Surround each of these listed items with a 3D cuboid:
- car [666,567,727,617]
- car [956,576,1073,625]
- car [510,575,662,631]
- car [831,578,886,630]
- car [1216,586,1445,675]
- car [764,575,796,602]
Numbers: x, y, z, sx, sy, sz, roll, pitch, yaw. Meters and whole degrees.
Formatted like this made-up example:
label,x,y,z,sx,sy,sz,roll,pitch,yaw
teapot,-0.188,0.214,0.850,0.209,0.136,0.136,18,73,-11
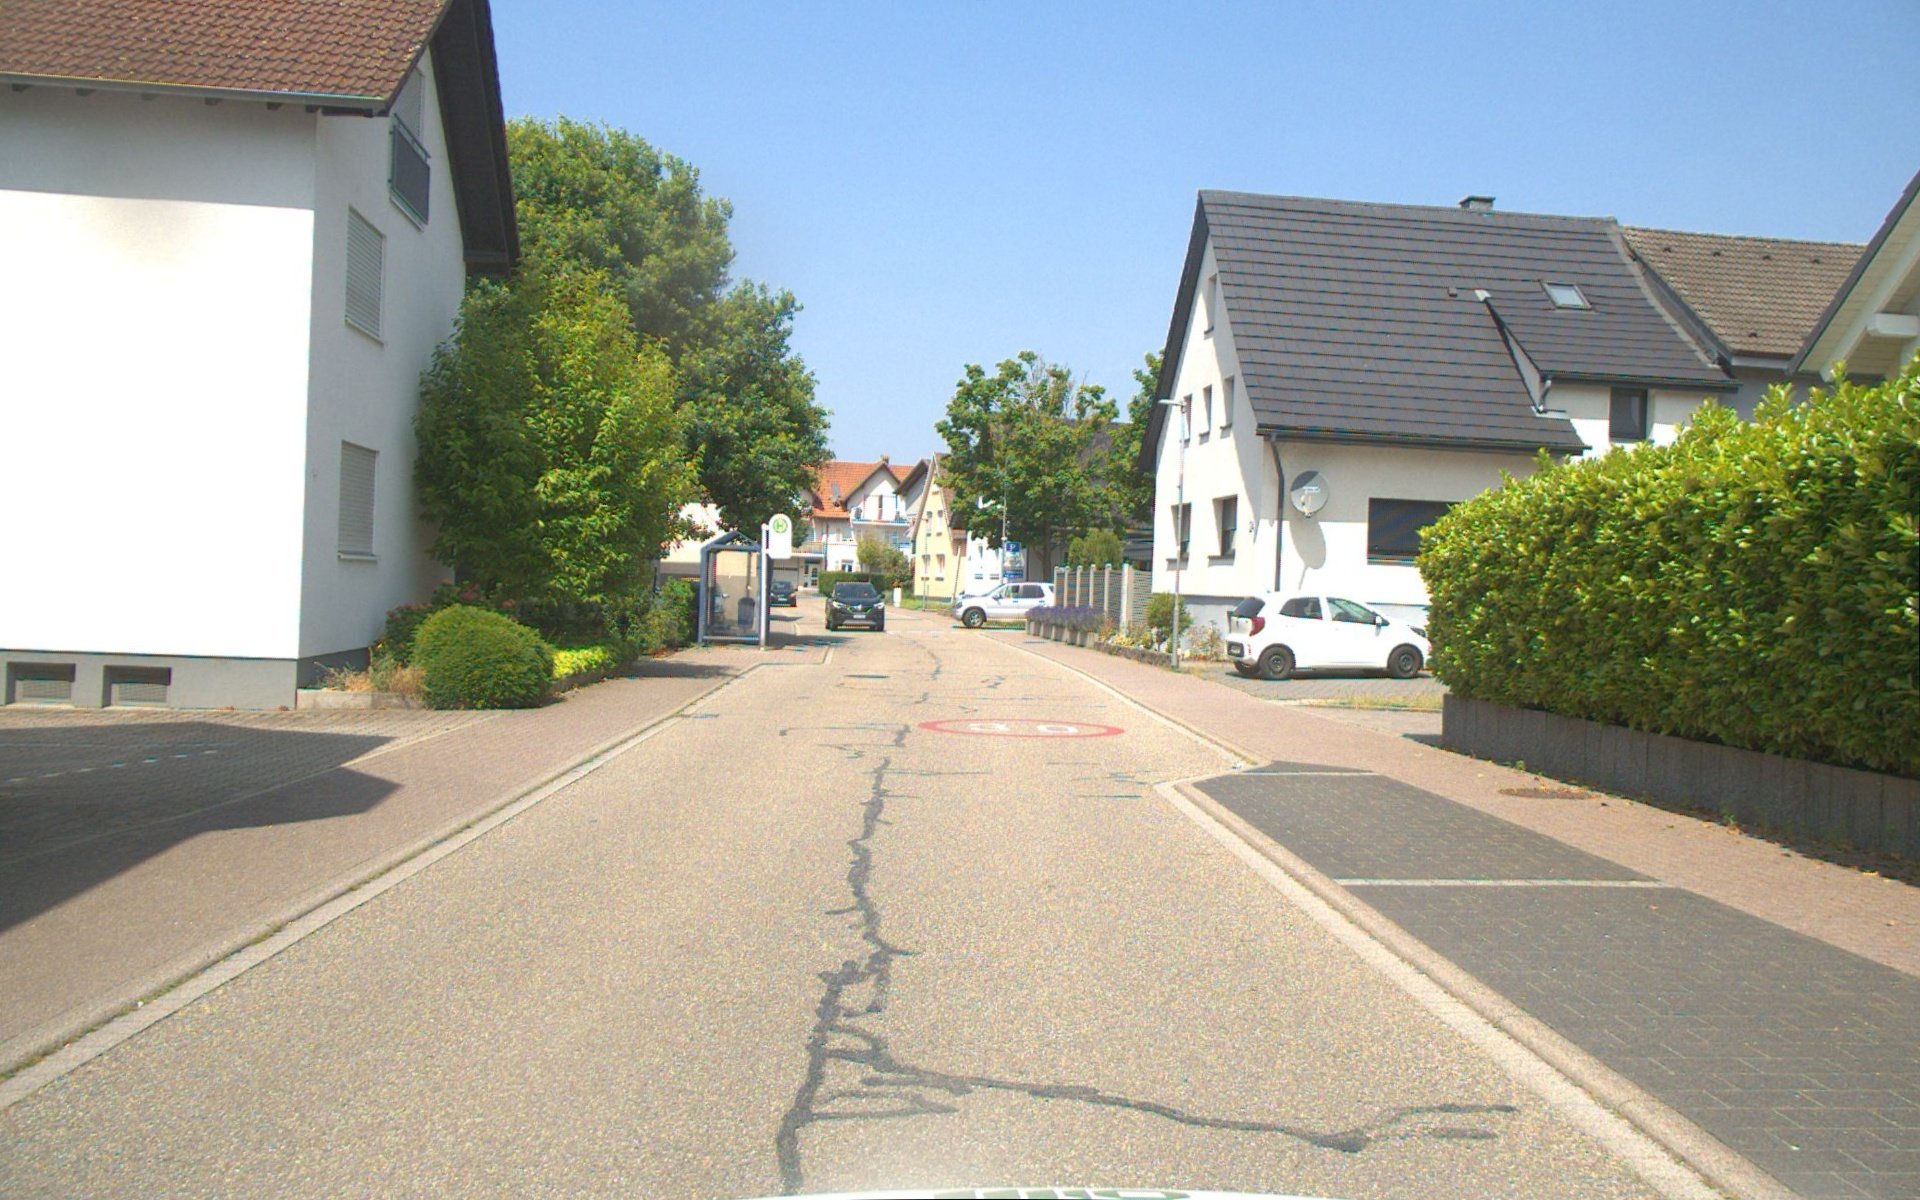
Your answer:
label,x,y,z,sx,sy,sz,roll,pitch,yaw
car,-8.299,-0.276,52.258,1.745,1.459,4.049,2,1,-8
car,2.004,0.035,61.615,4.231,1.798,1.890,0,0,-4
car,-10.706,0.075,47.555,4.080,1.565,1.771,0,1,-7
car,-3.456,0.103,55.785,1.741,1.652,4.101,1,0,-5
car,6.538,0.519,29.366,3.589,1.500,1.762,0,1,-9
car,-10.614,-0.677,97.286,1.597,1.512,3.990,1,1,-10
